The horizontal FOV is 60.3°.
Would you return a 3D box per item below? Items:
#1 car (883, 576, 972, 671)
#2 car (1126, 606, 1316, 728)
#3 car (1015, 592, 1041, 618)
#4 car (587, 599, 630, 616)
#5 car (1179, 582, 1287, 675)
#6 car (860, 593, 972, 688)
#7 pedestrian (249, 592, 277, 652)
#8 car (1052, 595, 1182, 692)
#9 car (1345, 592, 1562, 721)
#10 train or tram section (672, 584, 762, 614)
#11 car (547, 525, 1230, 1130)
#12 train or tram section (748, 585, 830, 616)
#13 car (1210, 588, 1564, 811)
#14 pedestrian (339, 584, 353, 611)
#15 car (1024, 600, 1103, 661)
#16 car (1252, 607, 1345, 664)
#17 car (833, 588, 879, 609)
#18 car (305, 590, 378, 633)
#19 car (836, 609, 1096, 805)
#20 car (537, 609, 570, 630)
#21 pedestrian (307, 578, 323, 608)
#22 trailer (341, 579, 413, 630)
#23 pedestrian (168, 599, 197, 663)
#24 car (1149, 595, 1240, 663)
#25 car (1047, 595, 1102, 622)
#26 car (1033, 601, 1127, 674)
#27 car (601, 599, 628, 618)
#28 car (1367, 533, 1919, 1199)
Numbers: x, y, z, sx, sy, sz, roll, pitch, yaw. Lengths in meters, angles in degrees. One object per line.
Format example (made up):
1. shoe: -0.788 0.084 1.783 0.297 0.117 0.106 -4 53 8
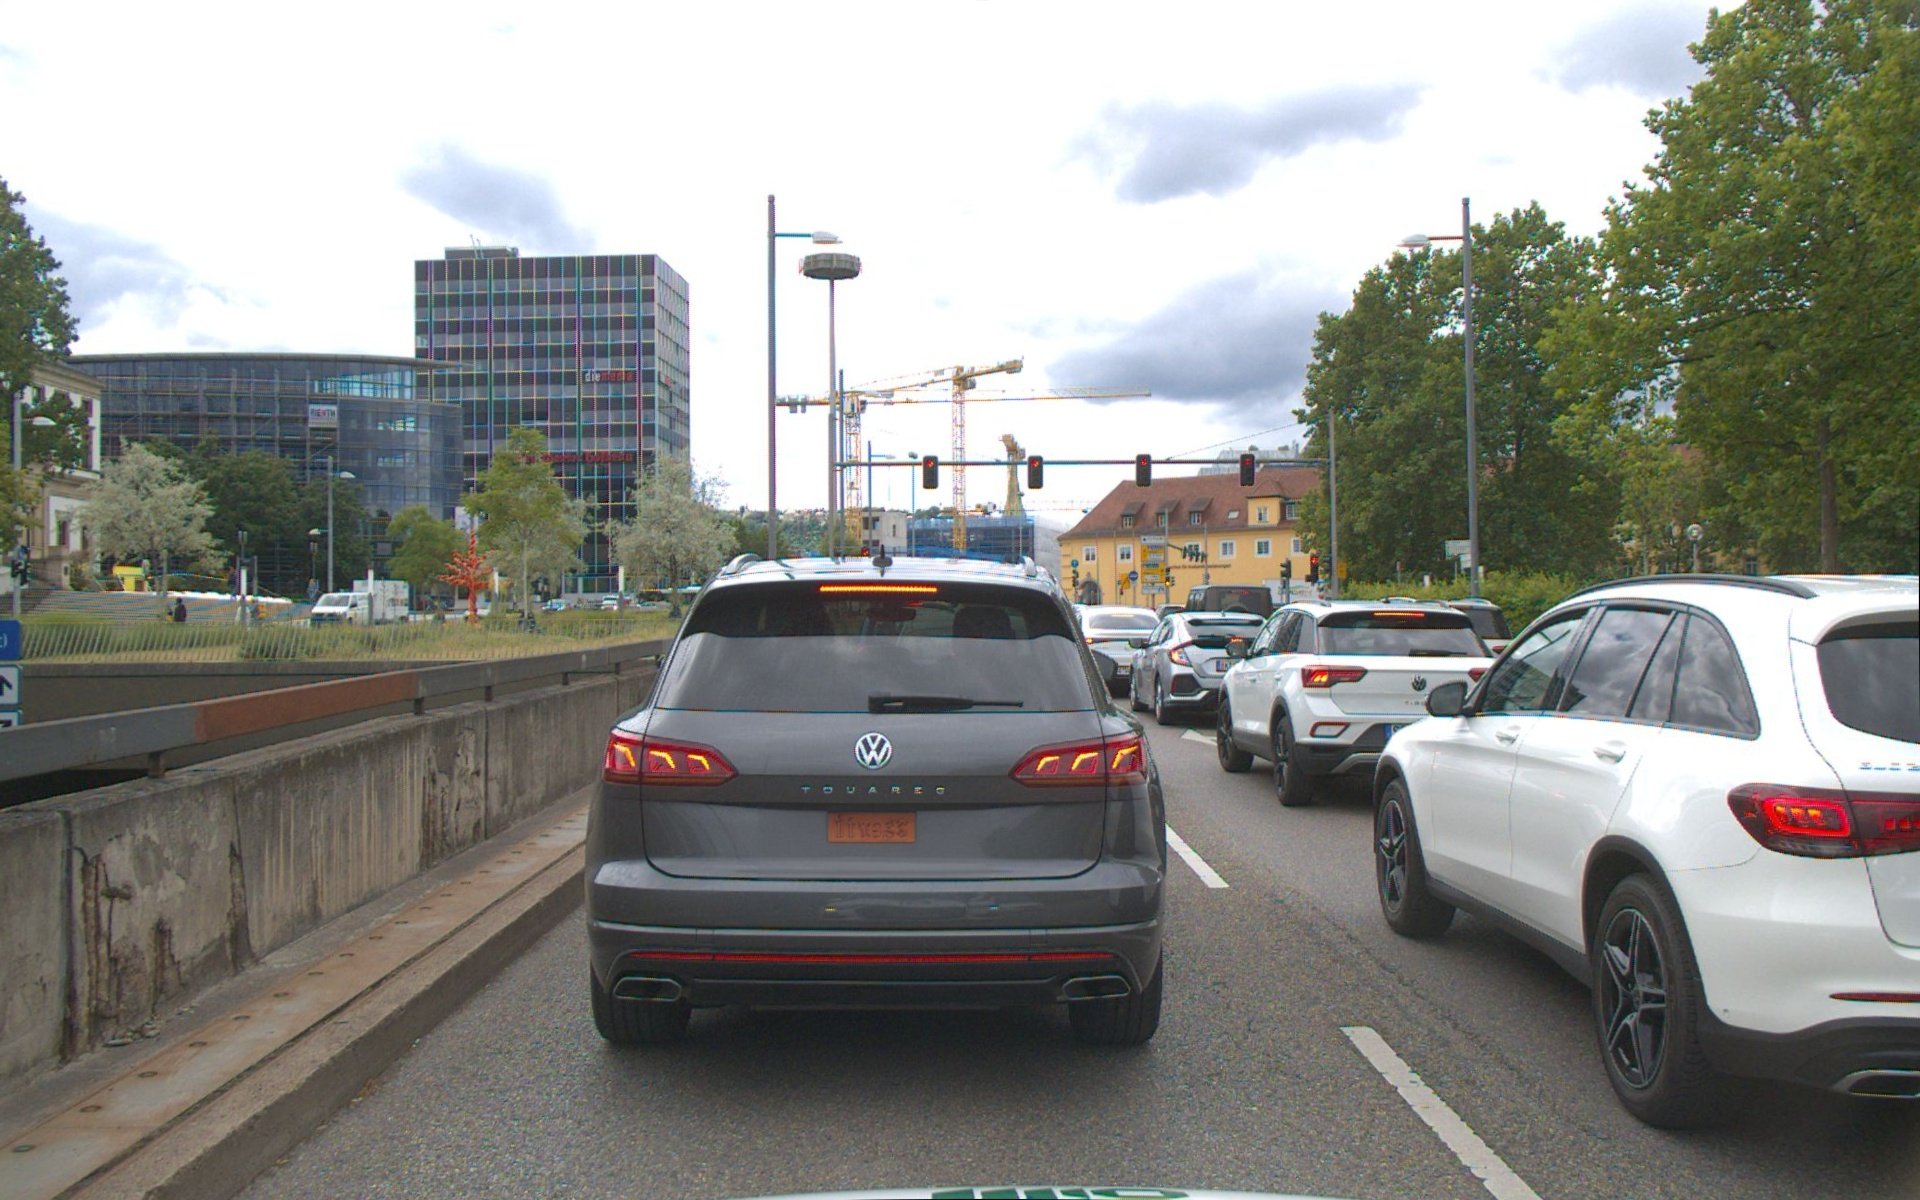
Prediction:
1. car: -0.758 0.518 38.449 1.912 2.053 3.930 2 0 -1
2. car: 3.381 0.835 22.244 1.887 1.457 4.489 0 -1 0
3. car: 4.556 0.363 111.459 1.586 1.656 3.999 2 -1 0
4. car: -34.401 0.728 161.813 4.142 1.631 1.746 1 -1 36
5. car: 6.419 0.665 39.259 1.871 2.049 4.012 2 -1 0
6. car: -0.804 0.716 30.990 1.912 1.627 3.930 2 0 -1
7. pedestrian: -24.783 0.783 58.846 0.716 2.047 0.628 -1 4 -8
8. car: 2.665 0.729 28.959 1.887 1.556 4.489 0 -1 0
9. car: 6.912 0.722 23.643 1.952 1.668 4.305 0 0 2
10. train or tram section: -26.712 -0.076 181.505 10.195 3.062 2.593 1 -2 28
11. car: -0.233 0.641 6.680 1.912 1.680 3.999 -1 0 -1
12. train or tram section: -18.345 0.045 177.098 8.750 3.062 2.593 1 -2 28
13. car: 3.398 0.740 14.084 1.887 1.578 4.489 0 -1 0
14. pedestrian: -47.318 -0.203 127.528 0.723 2.048 0.793 -1 1 0
15. car: 2.702 0.798 44.068 1.887 1.556 4.047 0 -1 0
16. car: 9.344 0.955 45.916 1.722 1.472 3.632 2 -1 -2
17. car: -10.773 -0.125 170.710 4.367 2.049 1.994 1 -2 33
18. car: -31.718 0.575 84.951 1.953 2.048 4.692 0 1 0
19. car: 0.013 0.812 14.364 1.912 1.408 3.930 2 0 -1
20. car: -30.722 1.500 125.174 1.697 1.521 3.592 2 -1 -3
21. pedestrian: -44.273 -0.460 113.604 0.724 2.048 1.113 -1 1 -6
22. trailer: -31.682 0.221 90.052 1.996 2.650 5.507 2 1 -1
23. pedestrian: -25.314 1.008 53.851 0.781 2.049 0.829 -1 1 -28
24. car: 6.298 0.775 44.783 1.871 1.727 4.012 2 -1 0
25. car: 9.194 0.711 133.144 3.912 2.049 1.932 1 -2 30
26. car: 2.680 0.836 37.779 1.887 1.556 4.047 0 -1 0
27. car: -30.420 0.763 145.686 1.697 1.521 3.592 2 -1 -3
28. car: 3.006 0.660 6.192 1.887 1.682 4.490 0 1 0
